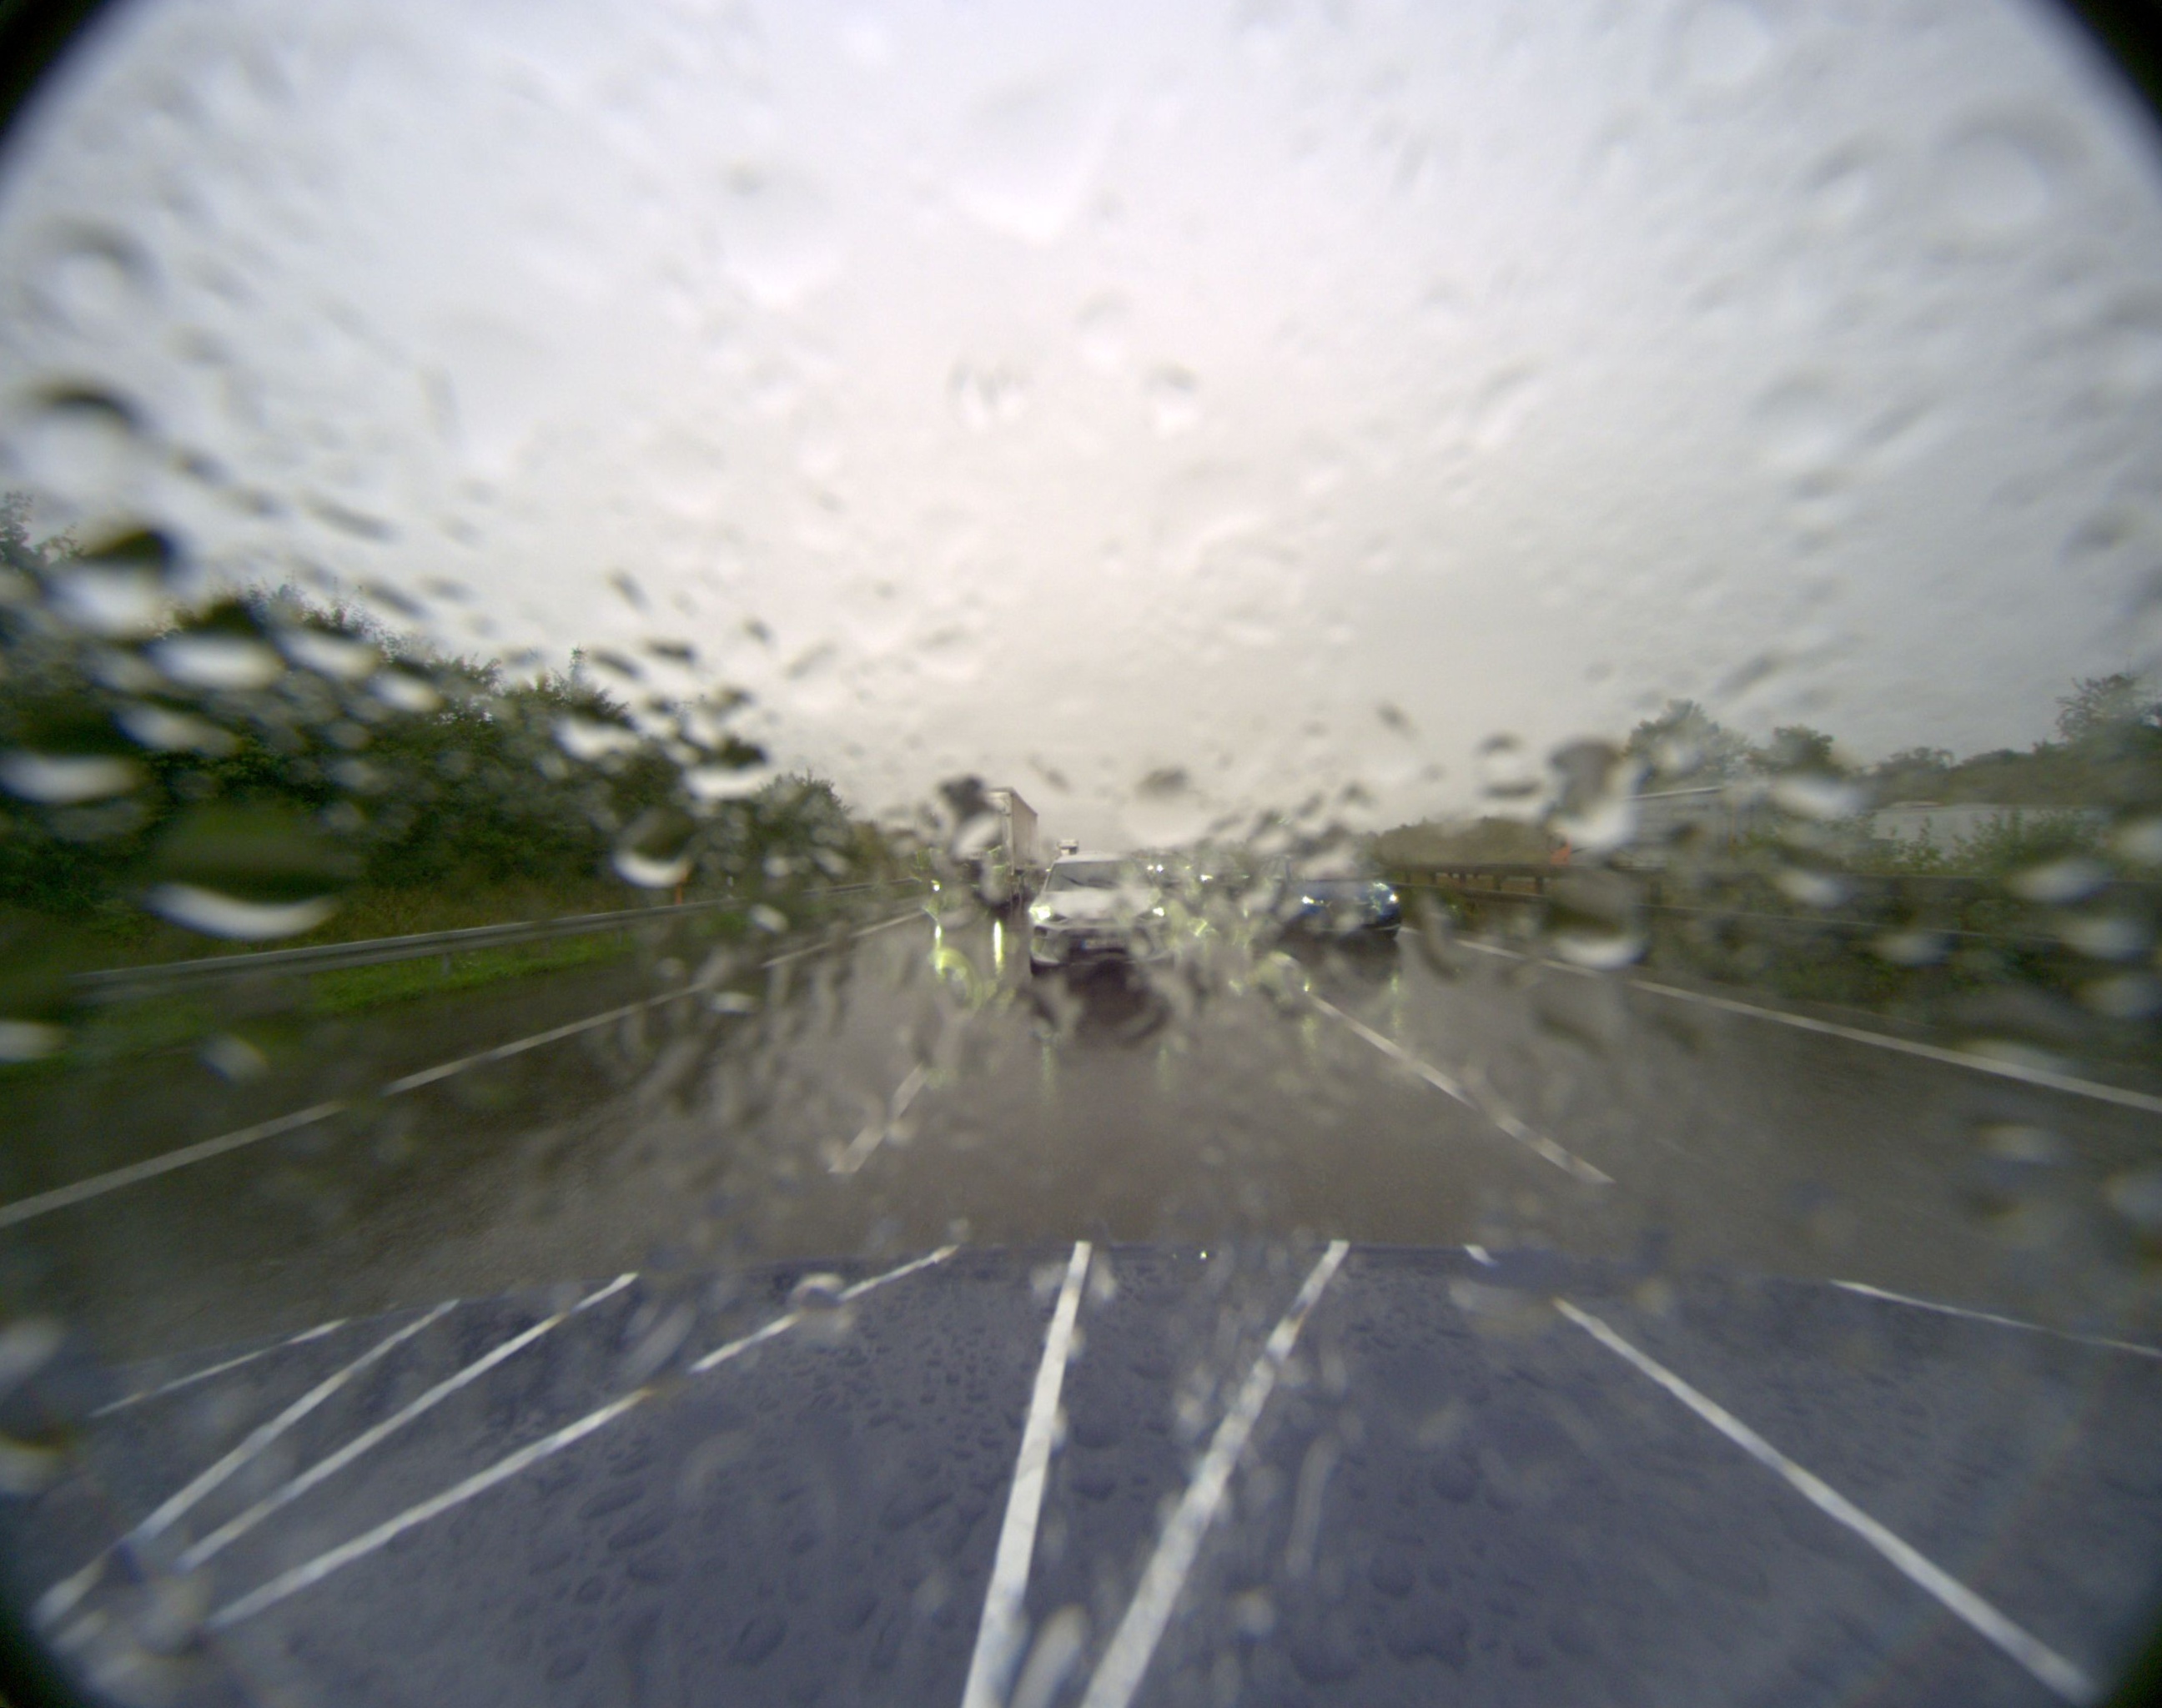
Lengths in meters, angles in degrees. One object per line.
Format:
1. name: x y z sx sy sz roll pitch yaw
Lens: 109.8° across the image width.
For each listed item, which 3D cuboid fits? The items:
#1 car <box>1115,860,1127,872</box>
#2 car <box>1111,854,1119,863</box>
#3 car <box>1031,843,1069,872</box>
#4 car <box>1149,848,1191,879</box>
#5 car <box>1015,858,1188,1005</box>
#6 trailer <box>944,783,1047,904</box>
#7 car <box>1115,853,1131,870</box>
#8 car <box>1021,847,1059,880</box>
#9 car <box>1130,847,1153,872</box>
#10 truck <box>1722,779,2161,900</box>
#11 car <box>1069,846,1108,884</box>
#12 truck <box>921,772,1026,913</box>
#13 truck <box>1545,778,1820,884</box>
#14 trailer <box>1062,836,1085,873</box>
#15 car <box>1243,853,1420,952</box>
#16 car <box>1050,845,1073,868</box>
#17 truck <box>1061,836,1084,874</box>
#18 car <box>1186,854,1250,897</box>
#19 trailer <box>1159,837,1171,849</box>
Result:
1. car: 5.223 1.545 98.454 1.458 1.540 2.804 0 2 1
2. car: 6.266 0.796 139.309 1.279 1.567 2.848 -2 0 1
3. car: -2.231 0.207 56.317 2.260 2.002 4.270 -2 1 4
4. car: 4.982 0.497 42.960 1.888 1.622 4.269 -2 0 1
5. car: 0.268 0.888 10.544 1.893 1.578 4.000 -2 0 1
6. trailer: -3.345 -0.426 34.130 2.633 4.224 14.175 -2 0 1
7. car: 4.907 0.861 89.036 1.737 2.002 4.223 -2 0 1
8. car: -2.631 0.570 49.593 1.946 2.002 4.447 -2 1 3
9. car: 5.175 0.467 65.388 1.888 2.002 4.270 -2 0 4
10. truck: 21.534 -0.332 19.982 2.657 2.466 7.891 -2 0 0
11. car: 0.459 0.591 42.639 1.998 2.002 4.000 -2 0 2
12. truck: -3.485 -0.355 25.859 2.633 4.229 5.043 -2 1 0
13. truck: 21.820 -0.699 28.625 2.933 3.262 9.255 -2 0 0
14. trailer: -0.951 0.142 102.379 2.628 4.635 9.222 -2 0 1
15. car: 4.344 0.751 13.960 1.790 1.467 4.512 -2 0 1
16. car: -1.911 0.229 76.079 1.998 2.231 4.000 -2 0 1
17. truck: -1.084 0.098 96.960 2.628 4.635 4.290 -2 0 1
18. car: 5.029 0.744 28.410 1.613 1.428 4.371 -2 0 1
19. trailer: 20.564 -2.724 185.863 2.487 2.704 7.323 0 2 2
